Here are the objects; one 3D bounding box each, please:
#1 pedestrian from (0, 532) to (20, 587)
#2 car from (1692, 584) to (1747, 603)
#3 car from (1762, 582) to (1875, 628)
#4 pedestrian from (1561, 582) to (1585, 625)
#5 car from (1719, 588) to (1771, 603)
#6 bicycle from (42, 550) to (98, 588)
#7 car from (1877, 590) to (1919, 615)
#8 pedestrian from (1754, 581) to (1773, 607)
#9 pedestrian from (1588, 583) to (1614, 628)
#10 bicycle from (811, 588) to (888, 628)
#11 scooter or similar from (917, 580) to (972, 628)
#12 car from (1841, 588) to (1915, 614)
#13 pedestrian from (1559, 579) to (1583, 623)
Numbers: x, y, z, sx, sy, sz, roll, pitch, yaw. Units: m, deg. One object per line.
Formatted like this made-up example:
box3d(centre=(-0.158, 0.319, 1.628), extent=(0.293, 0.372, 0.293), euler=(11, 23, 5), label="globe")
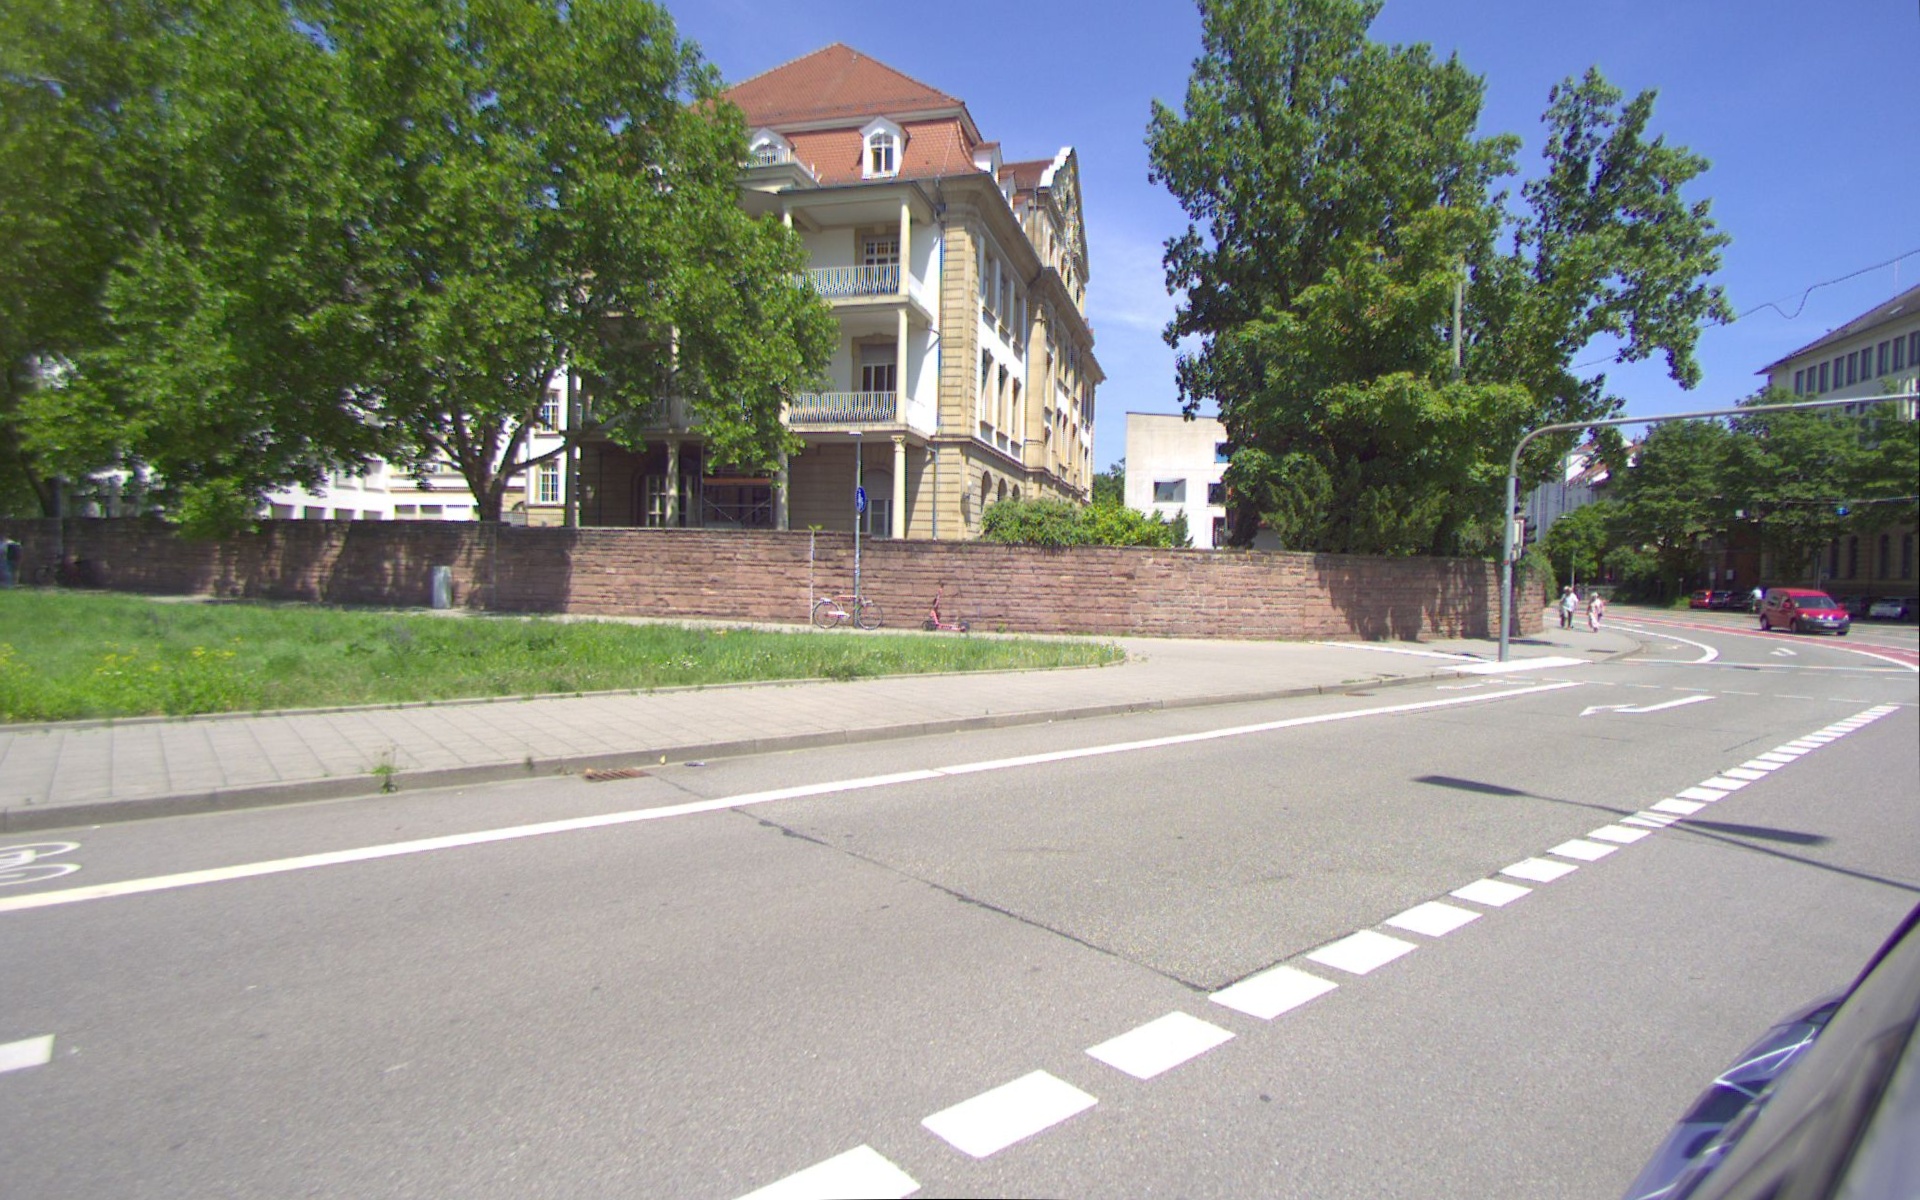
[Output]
box3d(centre=(-30.657, -1.304, 32.485), extent=(0.521, 1.743, 0.584), euler=(0, 0, 25), label="pedestrian")
box3d(centre=(60.348, -0.546, 80.400), extent=(3.504, 1.471, 1.619), euler=(0, 0, -13), label="car")
box3d(centre=(35.246, 0.172, 41.711), extent=(1.807, 1.788, 4.261), euler=(0, 0, 14), label="car")
box3d(centre=(23.953, 0.123, 39.555), extent=(0.597, 1.631, 0.555), euler=(4, 1, 18), label="pedestrian")
box3d(centre=(59.180, -0.373, 76.288), extent=(2.931, 1.113, 1.282), euler=(0, 0, -3), label="car")
box3d(centre=(-28.730, -0.991, 32.663), extent=(2.144, 1.197, 0.454), euler=(0, 0, 22), label="bicycle")
box3d(centre=(55.106, 0.133, 58.107), extent=(3.484, 1.438, 1.572), euler=(0, 0, -1), label="car")
box3d(centre=(52.839, -0.377, 66.563), extent=(0.715, 1.691, 0.640), euler=(2, 1, 20), label="pedestrian")
box3d(centre=(24.020, 0.194, 37.928), extent=(0.597, 1.631, 0.555), euler=(4, 1, 18), label="pedestrian")
box3d(centre=(-2.623, 0.178, 24.179), extent=(1.743, 0.940, 0.678), euler=(0, 0, 5), label="bicycle")
box3d(centre=(-0.376, 0.095, 24.375), extent=(1.323, 1.122, 0.375), euler=(0, 0, -2), label="scooter or similar")
box3d(centre=(55.150, 0.053, 60.839), extent=(3.088, 1.481, 1.572), euler=(0, 0, -3), label="car")
box3d(centre=(25.042, 0.028, 41.478), extent=(0.596, 1.733, 0.555), euler=(4, 1, 17), label="pedestrian")
